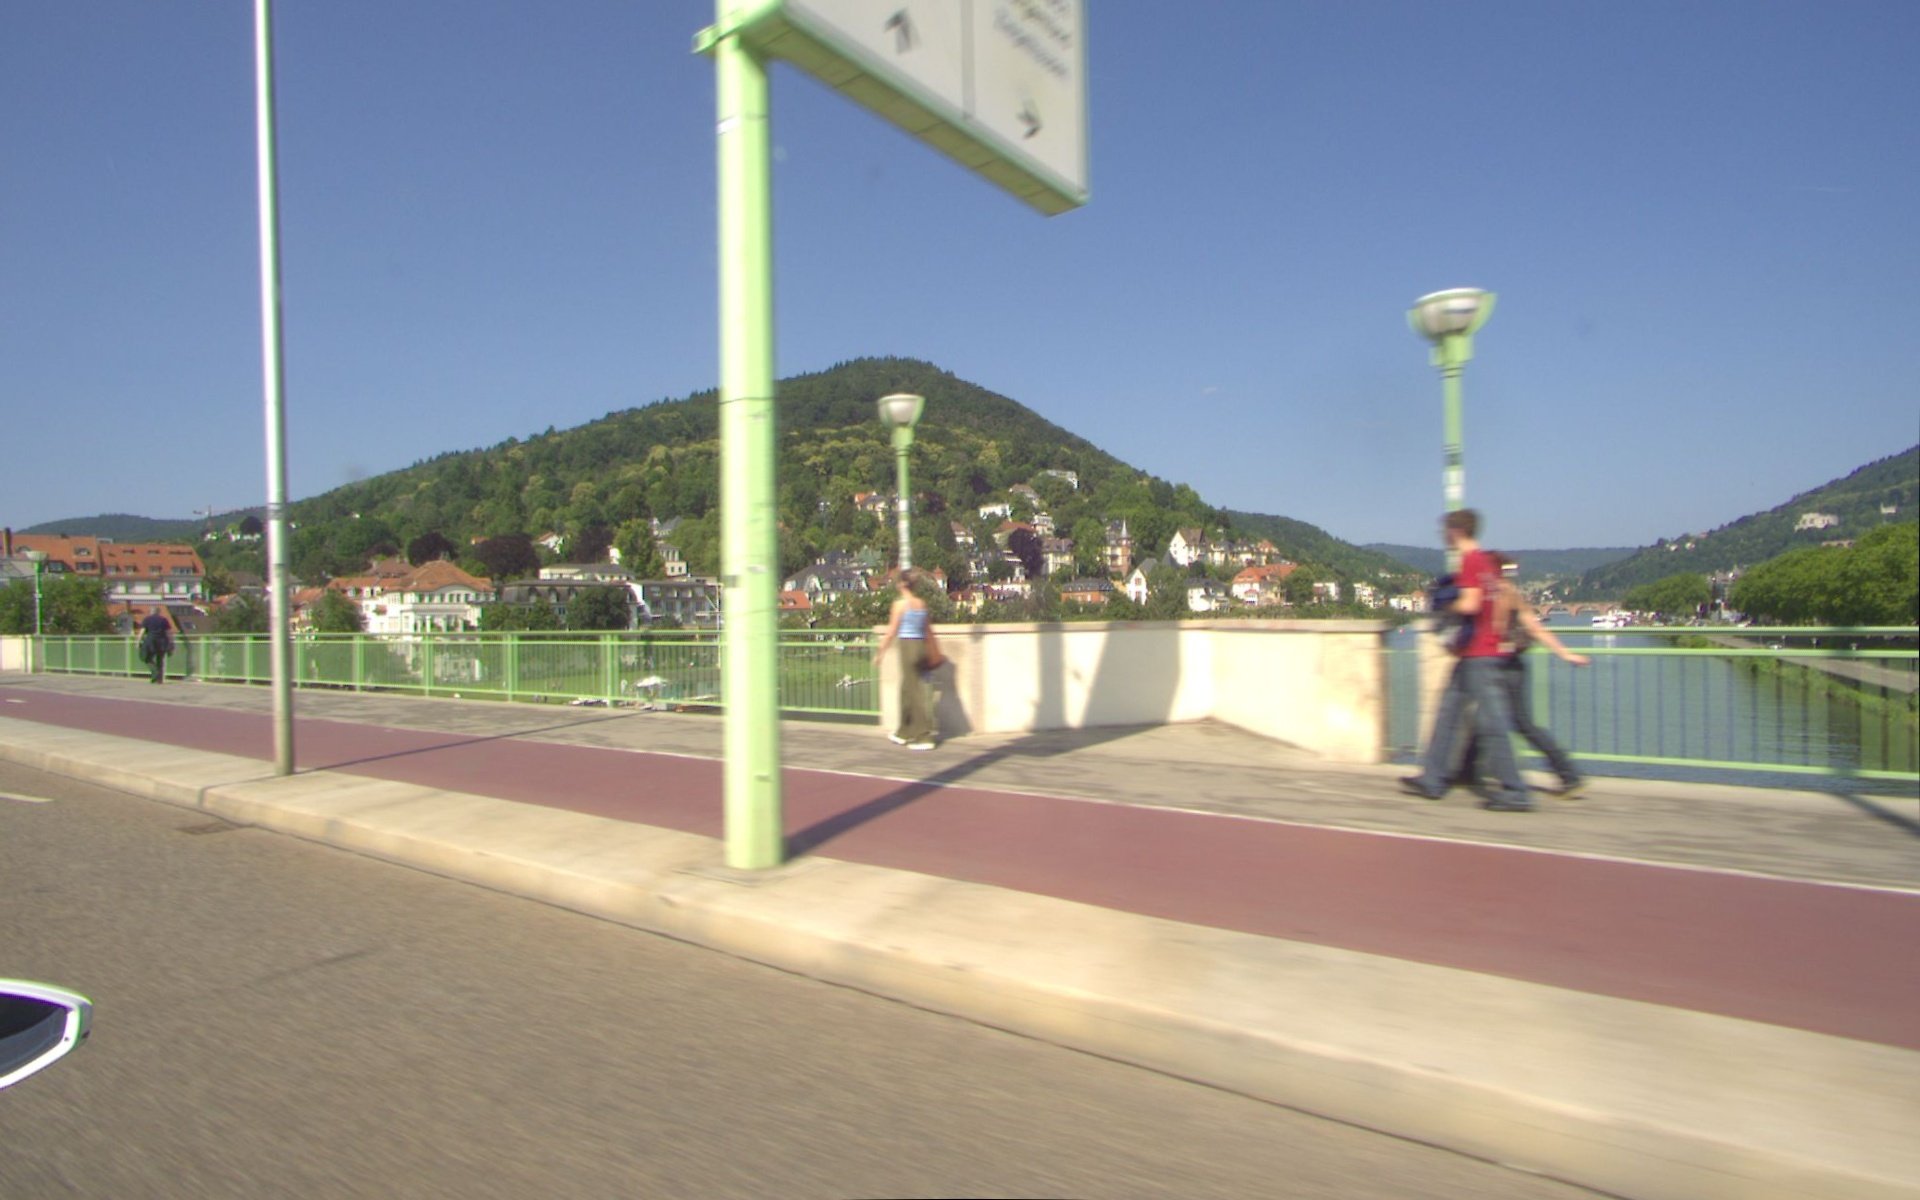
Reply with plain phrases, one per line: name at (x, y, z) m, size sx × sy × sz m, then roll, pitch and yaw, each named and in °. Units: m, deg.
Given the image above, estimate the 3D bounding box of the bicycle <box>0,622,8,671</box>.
bicycle at (-23.269, 1.080, 23.207) m, size 3.690 × 1.110 × 0.791 m, roll -1°, pitch 0°, yaw 31°

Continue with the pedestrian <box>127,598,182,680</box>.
pedestrian at (-17.862, 0.846, 22.209) m, size 0.963 × 1.767 × 0.654 m, roll 1°, pitch 1°, yaw 30°

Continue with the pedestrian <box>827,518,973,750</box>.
pedestrian at (-0.556, 0.314, 9.453) m, size 1.043 × 2.040 × 0.873 m, roll -1°, pitch 0°, yaw 29°

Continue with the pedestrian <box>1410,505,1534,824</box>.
pedestrian at (3.136, 0.379, 6.123) m, size 0.623 × 1.817 × 0.584 m, roll -1°, pitch 0°, yaw 30°

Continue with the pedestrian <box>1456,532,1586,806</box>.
pedestrian at (3.643, 0.433, 6.519) m, size 0.689 × 1.671 × 0.522 m, roll -1°, pitch 0°, yaw 31°
